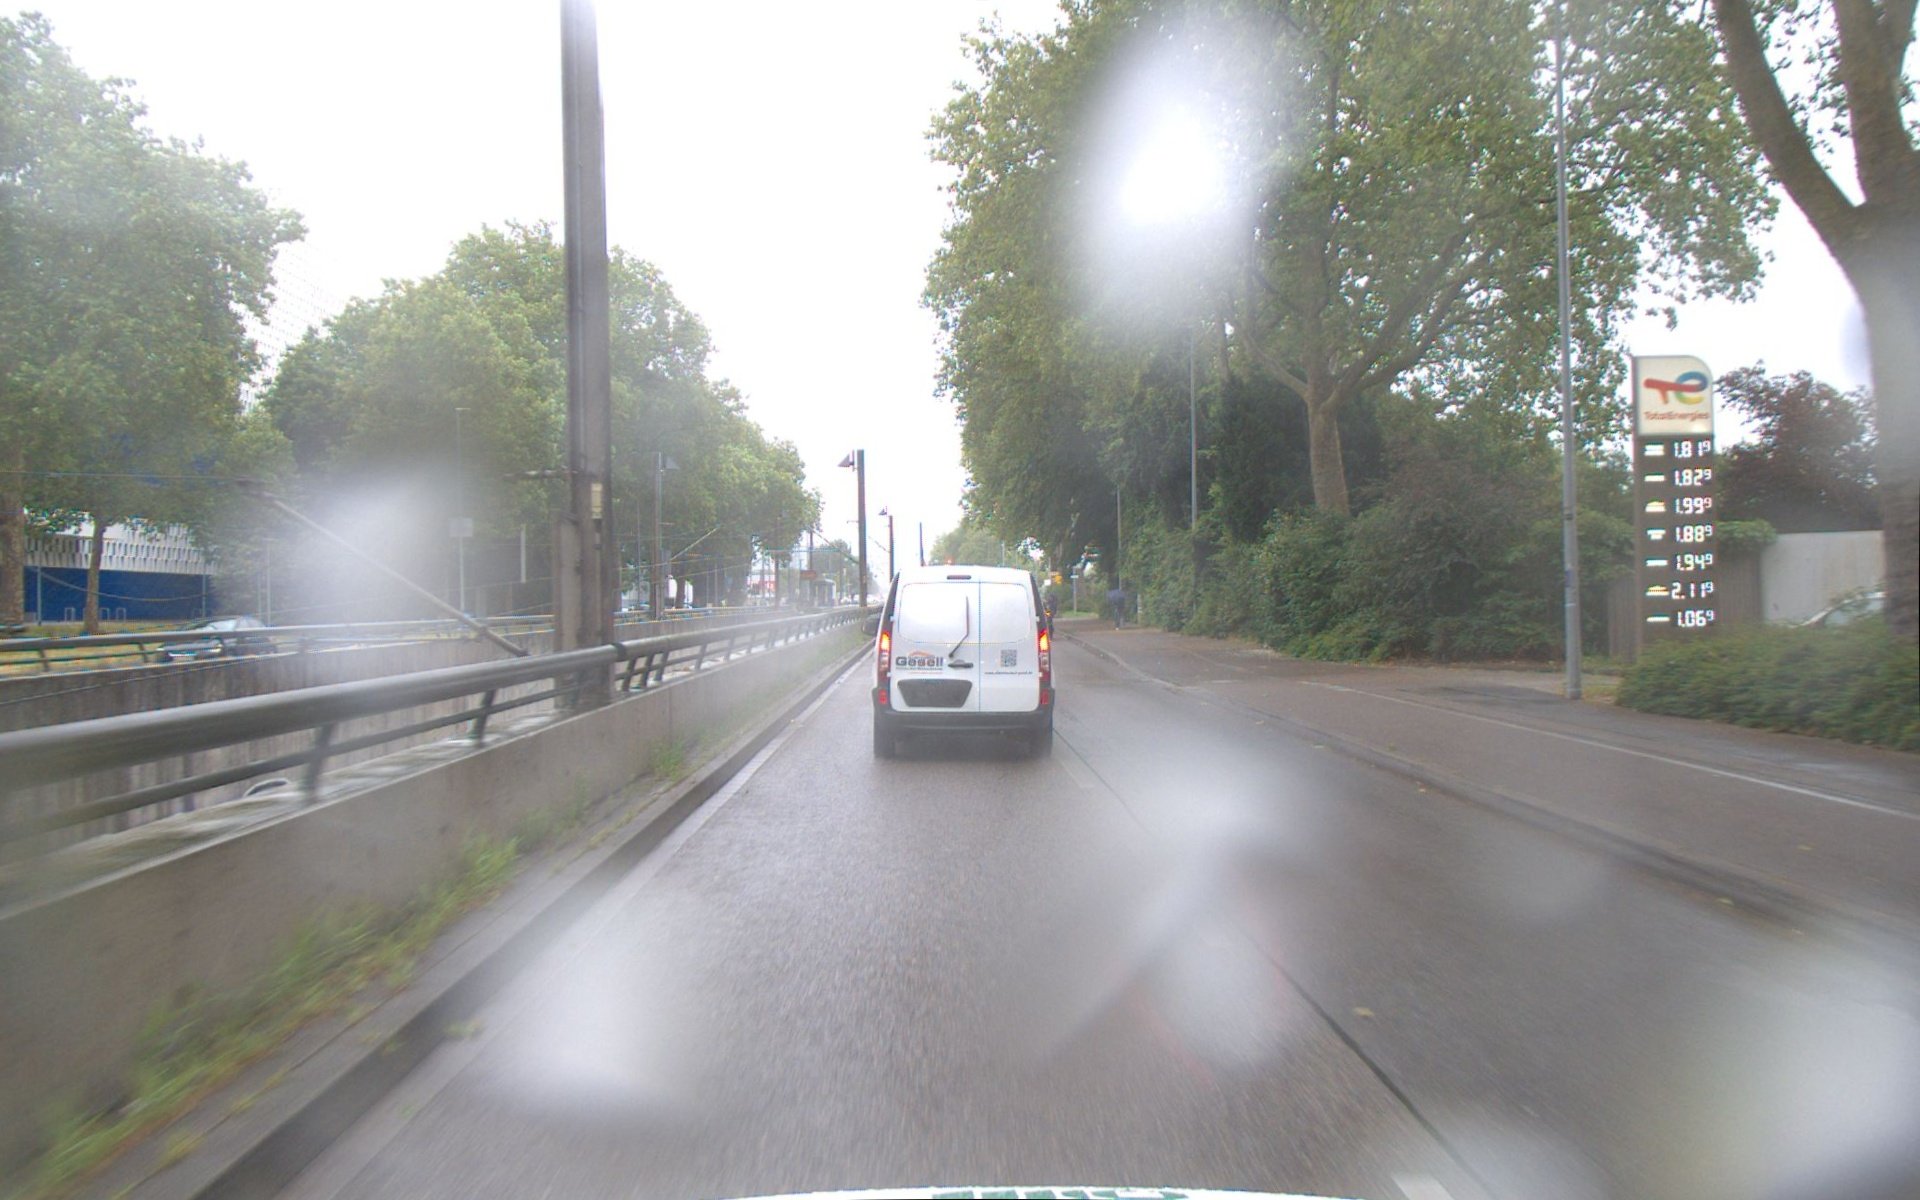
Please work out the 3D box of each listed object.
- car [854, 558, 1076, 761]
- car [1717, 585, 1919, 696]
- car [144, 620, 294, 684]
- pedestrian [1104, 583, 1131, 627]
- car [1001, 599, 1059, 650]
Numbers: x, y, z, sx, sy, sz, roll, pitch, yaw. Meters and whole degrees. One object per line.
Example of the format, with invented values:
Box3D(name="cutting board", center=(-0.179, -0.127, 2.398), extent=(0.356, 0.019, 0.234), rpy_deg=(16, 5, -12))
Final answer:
Box3D(name="car", center=(-0.002, 0.540, 17.069), extent=(1.984, 1.806, 4.273), rpy_deg=(1, 0, -1))
Box3D(name="car", center=(12.711, 0.545, 23.175), extent=(1.594, 1.457, 3.502), rpy_deg=(1, 0, -42))
Box3D(name="car", center=(-18.170, 1.235, 40.755), extent=(1.952, 1.428, 3.794), rpy_deg=(-1, 0, 0))
Box3D(name="pedestrian", center=(6.445, 0.204, 67.616), extent=(0.947, 1.732, 1.141), rpy_deg=(1, 0, 0))
Box3D(name="car", center=(2.614, 0.893, 60.892), extent=(1.951, 1.780, 4.002), rpy_deg=(1, 0, 4))
